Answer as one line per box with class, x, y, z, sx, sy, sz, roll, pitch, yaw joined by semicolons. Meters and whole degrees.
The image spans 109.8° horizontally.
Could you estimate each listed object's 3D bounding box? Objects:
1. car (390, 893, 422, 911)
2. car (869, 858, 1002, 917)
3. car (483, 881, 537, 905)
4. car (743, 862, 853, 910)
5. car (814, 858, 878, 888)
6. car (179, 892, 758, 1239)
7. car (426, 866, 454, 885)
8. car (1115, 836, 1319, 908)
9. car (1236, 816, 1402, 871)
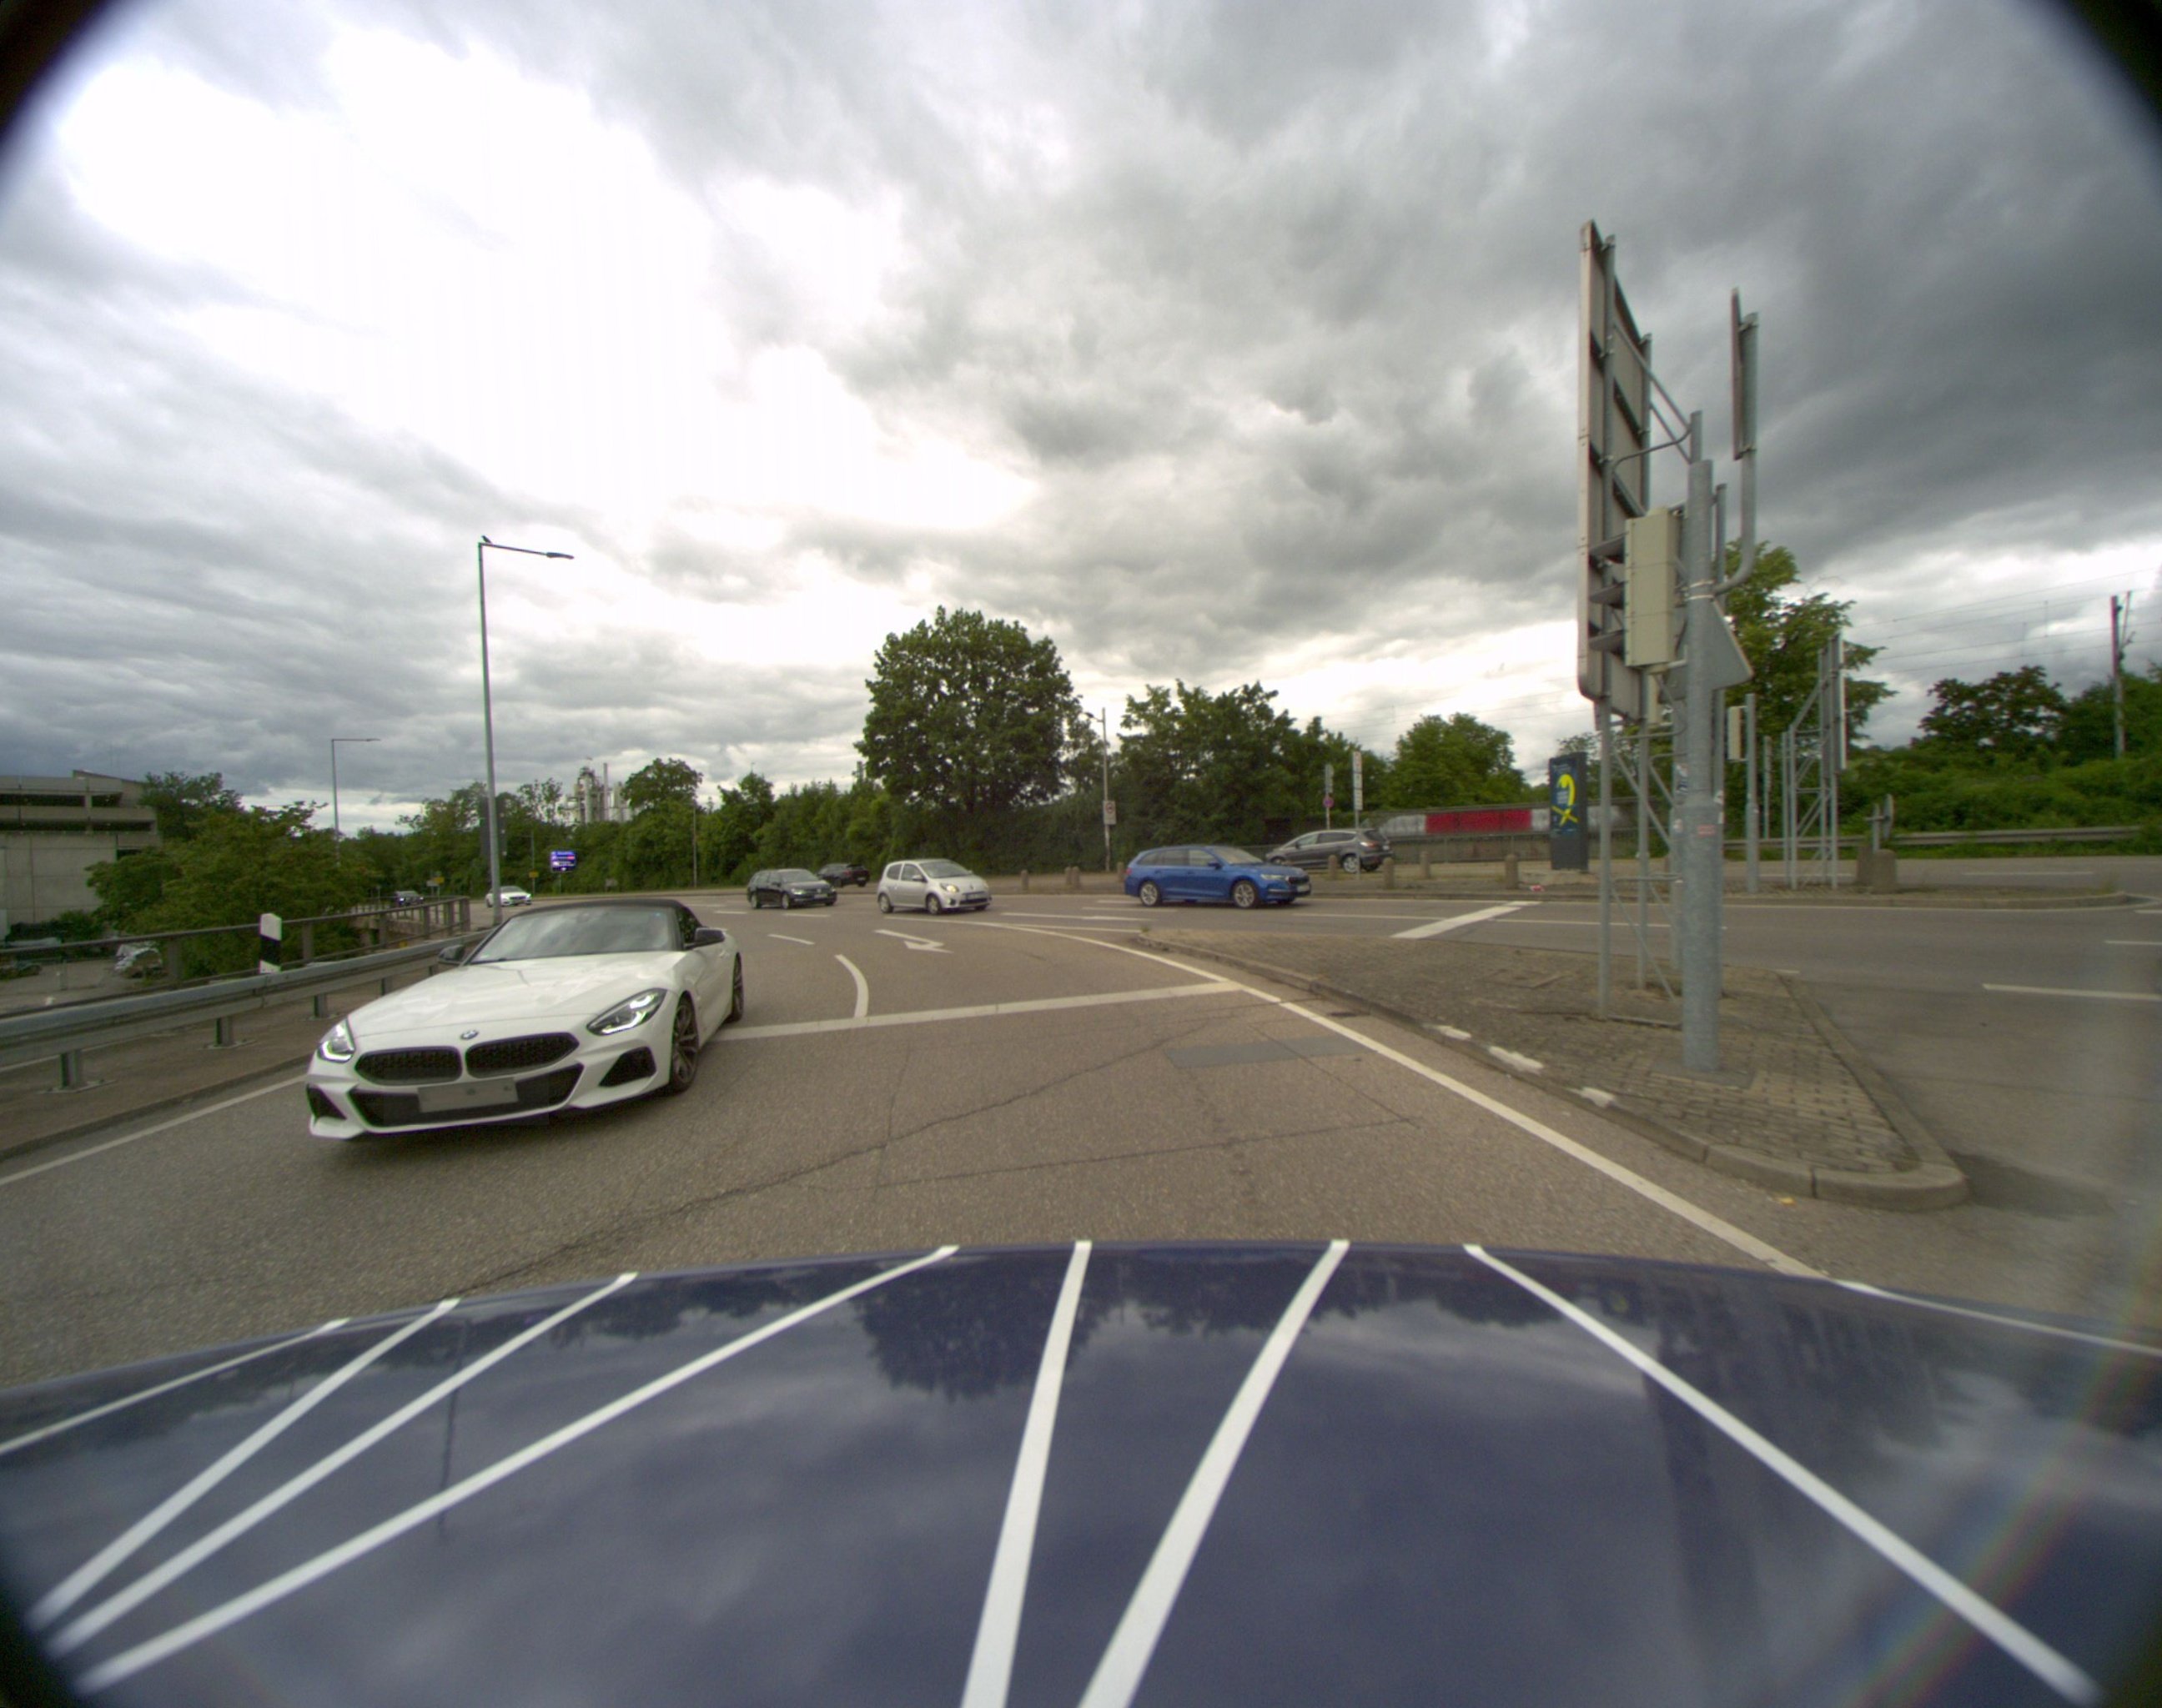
car;-63.908;4.508;71.938;3.640;1.551;1.653;-3;1;39
car;-4.033;0.904;20.756;3.739;1.366;1.631;-3;1;44
car;-40.553;2.768;53.910;4.703;1.551;1.881;-3;1;39
car;-10.451;1.165;27.904;4.283;1.547;1.951;-3;1;43
car;-13.602;1.129;43.904;3.834;1.551;1.653;-3;1;41
car;-4.012;1.144;6.203;1.865;1.337;4.818;-4;1;-16
car;-74.007;2.488;87.674;3.590;2.002;1.653;-2;1;37
car;3.041;0.423;17.786;1.613;1.446;4.530;-4;1;-44
car;8.891;-0.346;28.697;5.478;1.745;2.138;-3;1;40
